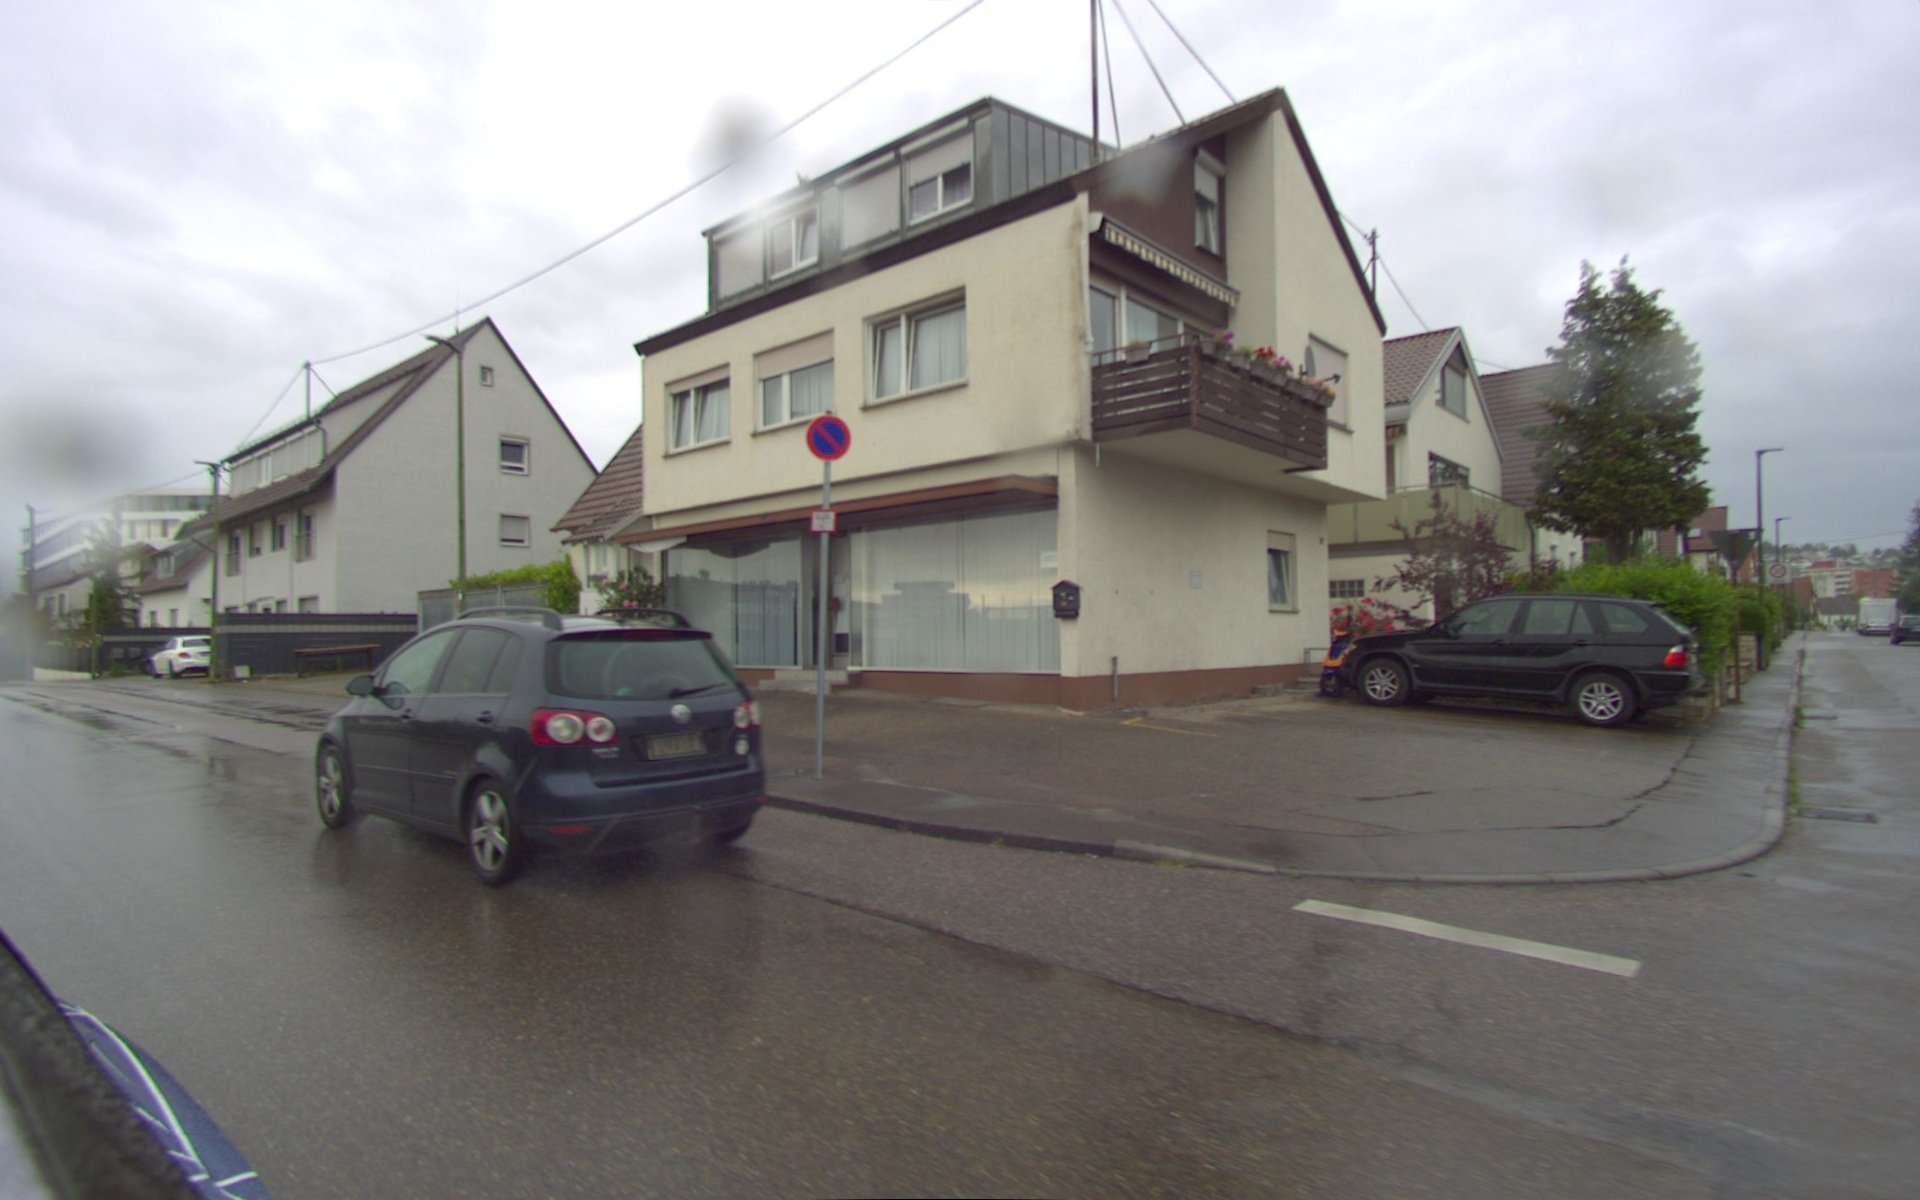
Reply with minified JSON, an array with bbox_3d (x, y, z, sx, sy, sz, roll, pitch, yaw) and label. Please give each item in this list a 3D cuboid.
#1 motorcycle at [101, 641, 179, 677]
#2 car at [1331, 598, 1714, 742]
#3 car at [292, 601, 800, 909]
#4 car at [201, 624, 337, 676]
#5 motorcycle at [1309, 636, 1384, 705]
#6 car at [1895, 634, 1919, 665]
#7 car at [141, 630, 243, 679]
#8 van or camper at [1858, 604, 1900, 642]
[{"bbox_3d":[-32.921,2.349,40.670,0.736,1.283,2.337,-4,-1,42],"label":"motorcycle"},{"bbox_3d":[7.982,0.877,14.631,4.543,1.671,1.840,2,0,41],"label":"car"},{"bbox_3d":[-3.043,0.829,7.033,3.998,1.539,1.658,-1,-2,41],"label":"car"},{"bbox_3d":[-21.702,1.588,31.721,4.554,1.379,1.813,-4,0,32],"label":"car"},{"bbox_3d":[6.451,1.163,16.859,0.613,1.090,1.815,-1,-4,40],"label":"motorcycle"},{"bbox_3d":[47.786,2.423,50.153,1.999,1.453,3.945,-1,-1,42],"label":"car"},{"bbox_3d":[-27.531,1.970,36.217,4.894,1.521,1.973,-4,0,42],"label":"car"},{"bbox_3d":[72.352,1.793,79.732,2.263,2.818,6.382,-1,-2,41],"label":"van or camper"}]
